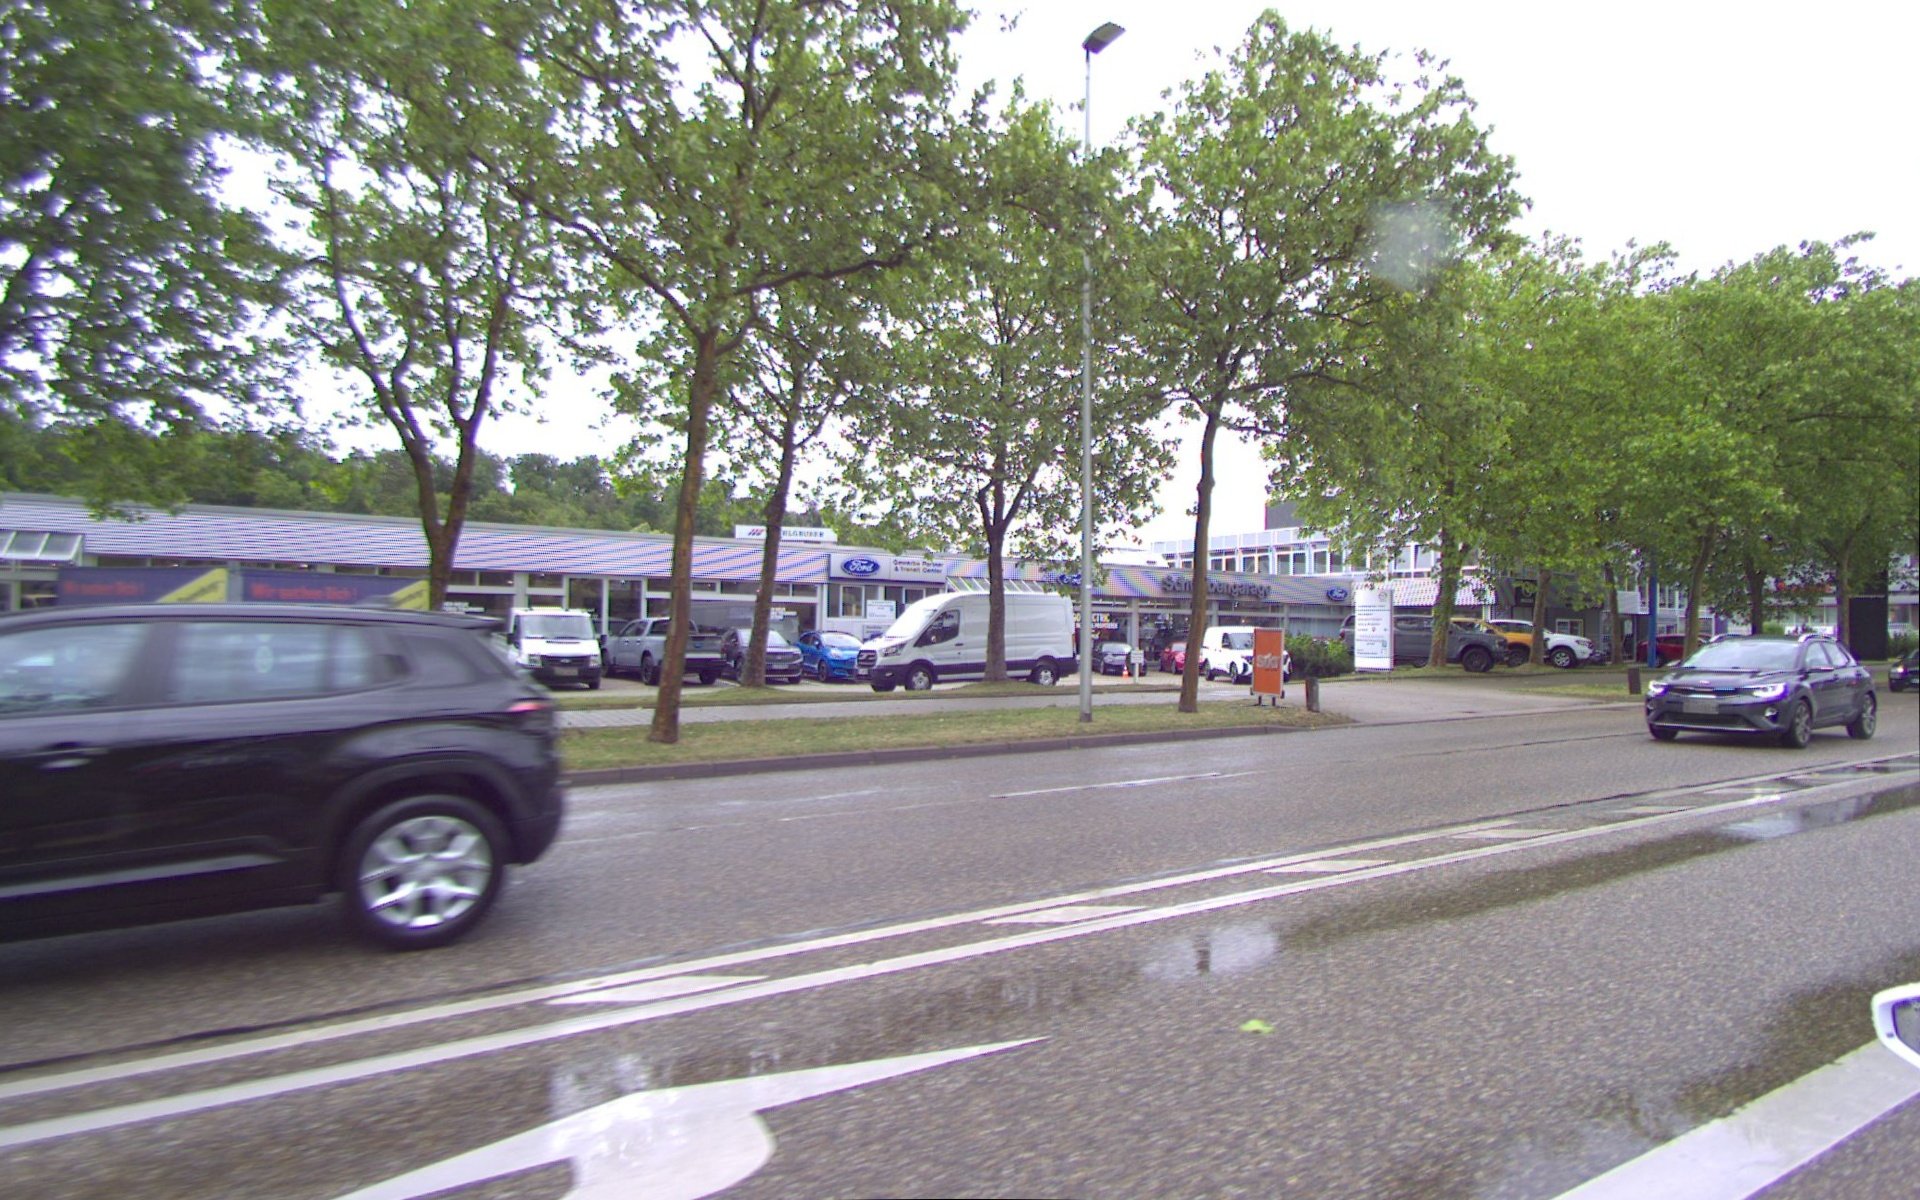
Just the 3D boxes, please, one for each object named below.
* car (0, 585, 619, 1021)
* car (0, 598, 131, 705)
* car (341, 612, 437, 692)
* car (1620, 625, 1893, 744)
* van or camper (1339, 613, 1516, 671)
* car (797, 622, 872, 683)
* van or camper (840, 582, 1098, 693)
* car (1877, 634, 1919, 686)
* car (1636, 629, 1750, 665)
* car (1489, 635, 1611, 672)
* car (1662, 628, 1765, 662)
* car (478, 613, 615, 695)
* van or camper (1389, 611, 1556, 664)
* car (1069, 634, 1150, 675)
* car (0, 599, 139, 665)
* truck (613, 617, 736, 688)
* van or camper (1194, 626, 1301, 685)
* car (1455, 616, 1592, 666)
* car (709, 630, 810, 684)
[{"bbox_3d":[-3.667,0.770,4.483,3.813,1.551,1.755,1,-3,-30],"label":"car"},{"bbox_3d":[-19.050,1.038,21.189,1.862,2.040,3.965,1,-2,-32],"label":"car"},{"bbox_3d":[-14.065,1.217,24.627,1.862,1.790,3.965,1,-2,-32],"label":"car"},{"bbox_3d":[11.390,1.114,14.304,4.132,1.481,1.659,1,-2,-30],"label":"car"},{"bbox_3d":[15.954,1.385,34.368,5.211,1.845,2.260,-1,-2,35],"label":"van or camper"},{"bbox_3d":[-4.001,1.595,31.563,1.834,1.790,3.988,1,-1,-15],"label":"car"},{"bbox_3d":[0.314,0.906,25.128,6.326,2.503,1.984,1,0,-30],"label":"van or camper"},{"bbox_3d":[28.551,1.712,29.063,4.484,1.448,1.728,1,-2,-30],"label":"car"},{"bbox_3d":[36.371,2.314,49.943,4.497,1.617,1.992,0,-1,38],"label":"car"},{"bbox_3d":[25.102,2.261,42.839,4.390,1.469,1.996,-1,-2,31],"label":"car"},{"bbox_3d":[38.930,2.359,52.009,4.165,1.674,2.005,-2,-3,37],"label":"car"},{"bbox_3d":[-11.037,1.336,26.567,2.390,1.928,5.344,1,-2,-33],"label":"car"},{"bbox_3d":[19.036,1.389,37.413,5.290,1.792,2.098,-1,-5,37],"label":"van or camper"},{"bbox_3d":[5.761,2.097,39.171,1.574,1.487,3.893,1,-2,-18],"label":"car"},{"bbox_3d":[-26.682,0.903,29.909,3.811,1.767,1.911,2,0,23],"label":"car"},{"bbox_3d":[-8.164,1.439,28.542,1.983,1.862,3.955,1,-2,-39],"label":"truck"},{"bbox_3d":[9.345,1.753,33.048,1.804,1.808,4.644,0,-1,-5],"label":"van or camper"},{"bbox_3d":[21.780,1.547,38.910,4.397,1.840,1.992,-1,-2,37],"label":"car"},{"bbox_3d":[-6.112,1.654,30.297,2.008,1.480,3.973,1,-2,-27],"label":"car"}]
